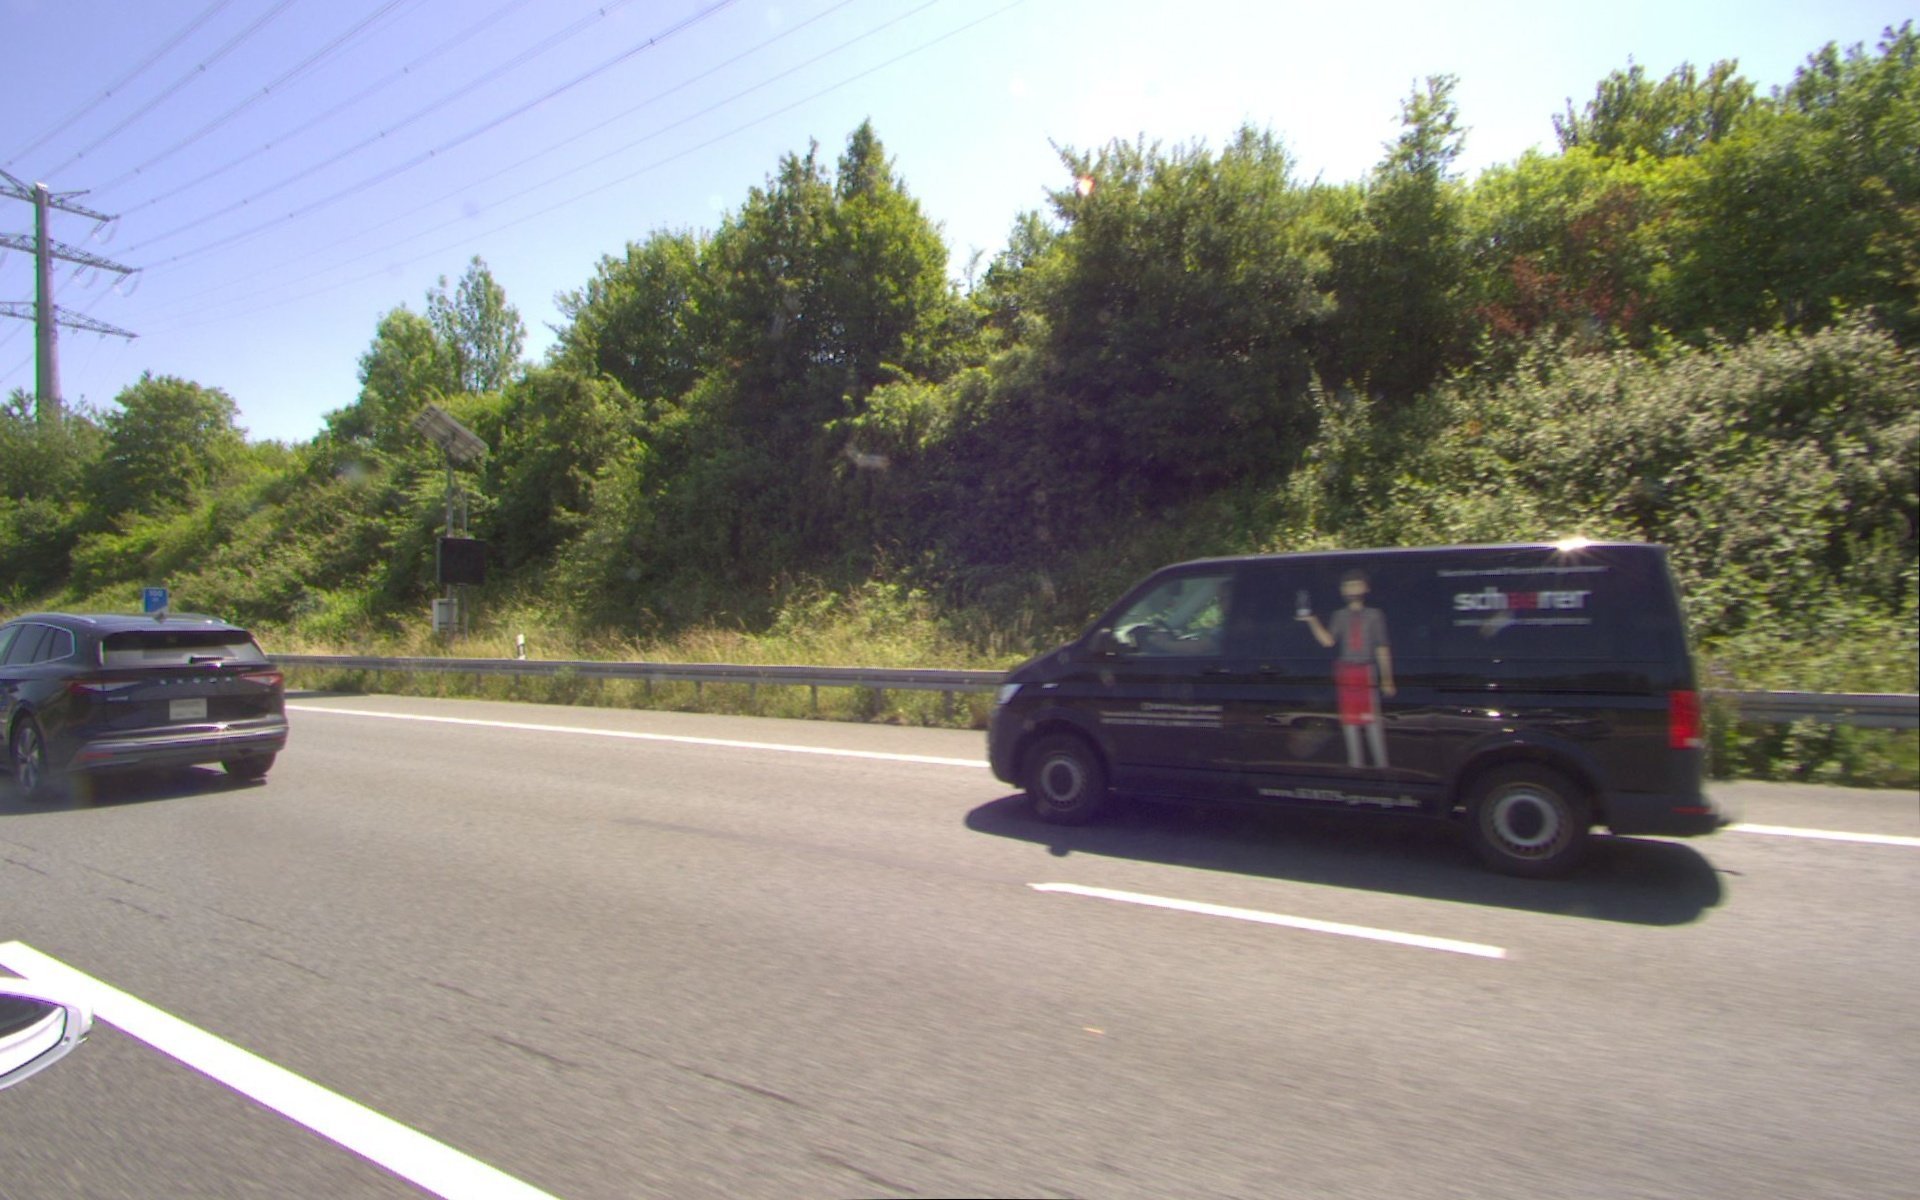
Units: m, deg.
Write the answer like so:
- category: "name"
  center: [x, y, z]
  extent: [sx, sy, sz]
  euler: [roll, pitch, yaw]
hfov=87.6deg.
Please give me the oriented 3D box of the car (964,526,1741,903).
- category: "car"
  center: [2.464, 0.644, 7.102]
  extent: [4.629, 1.928, 1.782]
  euler: [-1, -2, 31]

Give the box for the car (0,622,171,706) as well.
- category: "car"
  center: [-17.391, 1.193, 19.663]
  extent: [3.956, 1.489, 1.738]
  euler: [-1, -1, 32]

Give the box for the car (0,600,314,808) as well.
- category: "car"
  center: [-8.443, 0.871, 9.826]
  extent: [4.366, 1.635, 1.825]
  euler: [-1, -1, 31]
